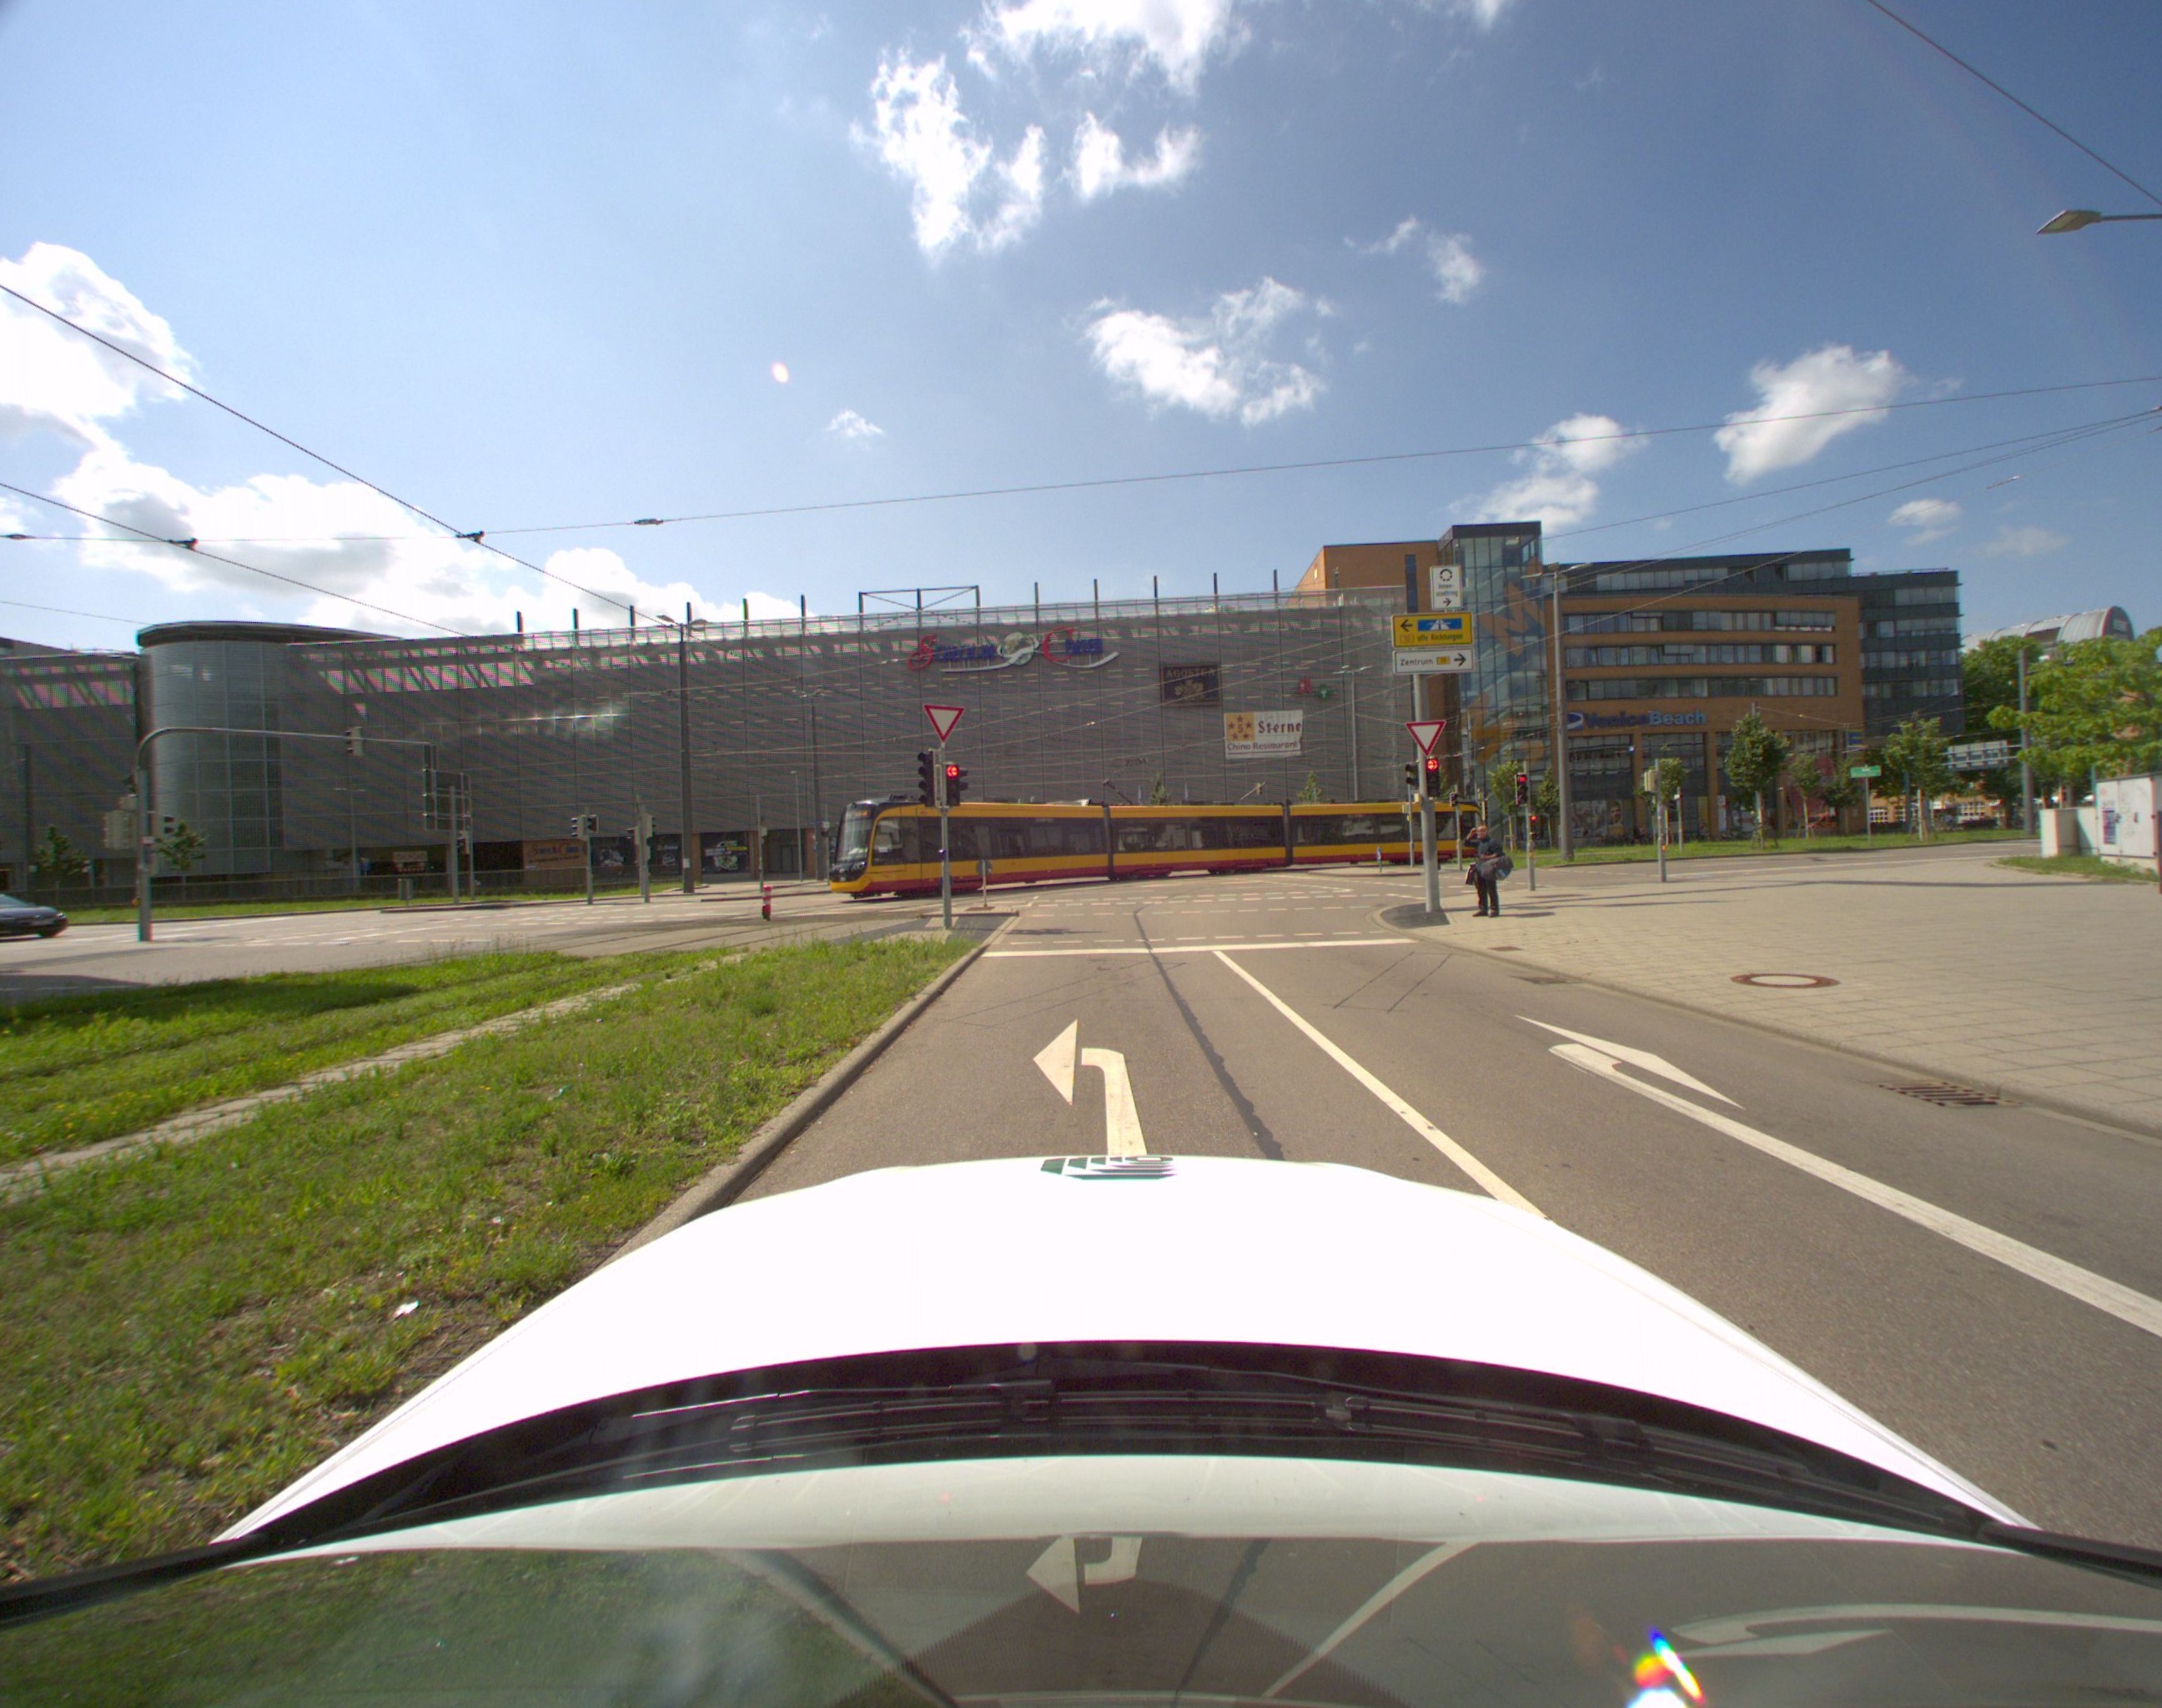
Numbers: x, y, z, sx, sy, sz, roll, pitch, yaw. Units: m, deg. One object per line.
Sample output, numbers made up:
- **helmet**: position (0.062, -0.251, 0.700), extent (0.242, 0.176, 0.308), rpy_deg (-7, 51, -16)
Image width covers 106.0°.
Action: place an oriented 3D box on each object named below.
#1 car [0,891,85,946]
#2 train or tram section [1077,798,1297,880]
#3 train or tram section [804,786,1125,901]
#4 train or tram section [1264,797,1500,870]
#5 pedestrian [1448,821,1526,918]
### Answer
- **car**: position (-32.603, 1.962, 24.076), extent (4.082, 1.469, 1.829), rpy_deg (-2, 0, 2)
- **train or tram section**: position (5.381, -0.794, 39.834), extent (11.024, 3.603, 3.036), rpy_deg (-2, 0, -30)
- **train or tram section**: position (-3.727, -0.462, 31.786), extent (3.185, 3.599, 13.585), rpy_deg (-1, 1, 41)
- **train or tram section**: position (16.443, -1.156, 44.361), extent (12.617, 3.621, 3.049), rpy_deg (-2, 0, -15)
- **pedestrian**: position (7.501, 0.282, 15.077), extent (0.810, 1.702, 0.910), rpy_deg (-3, 0, -27)
